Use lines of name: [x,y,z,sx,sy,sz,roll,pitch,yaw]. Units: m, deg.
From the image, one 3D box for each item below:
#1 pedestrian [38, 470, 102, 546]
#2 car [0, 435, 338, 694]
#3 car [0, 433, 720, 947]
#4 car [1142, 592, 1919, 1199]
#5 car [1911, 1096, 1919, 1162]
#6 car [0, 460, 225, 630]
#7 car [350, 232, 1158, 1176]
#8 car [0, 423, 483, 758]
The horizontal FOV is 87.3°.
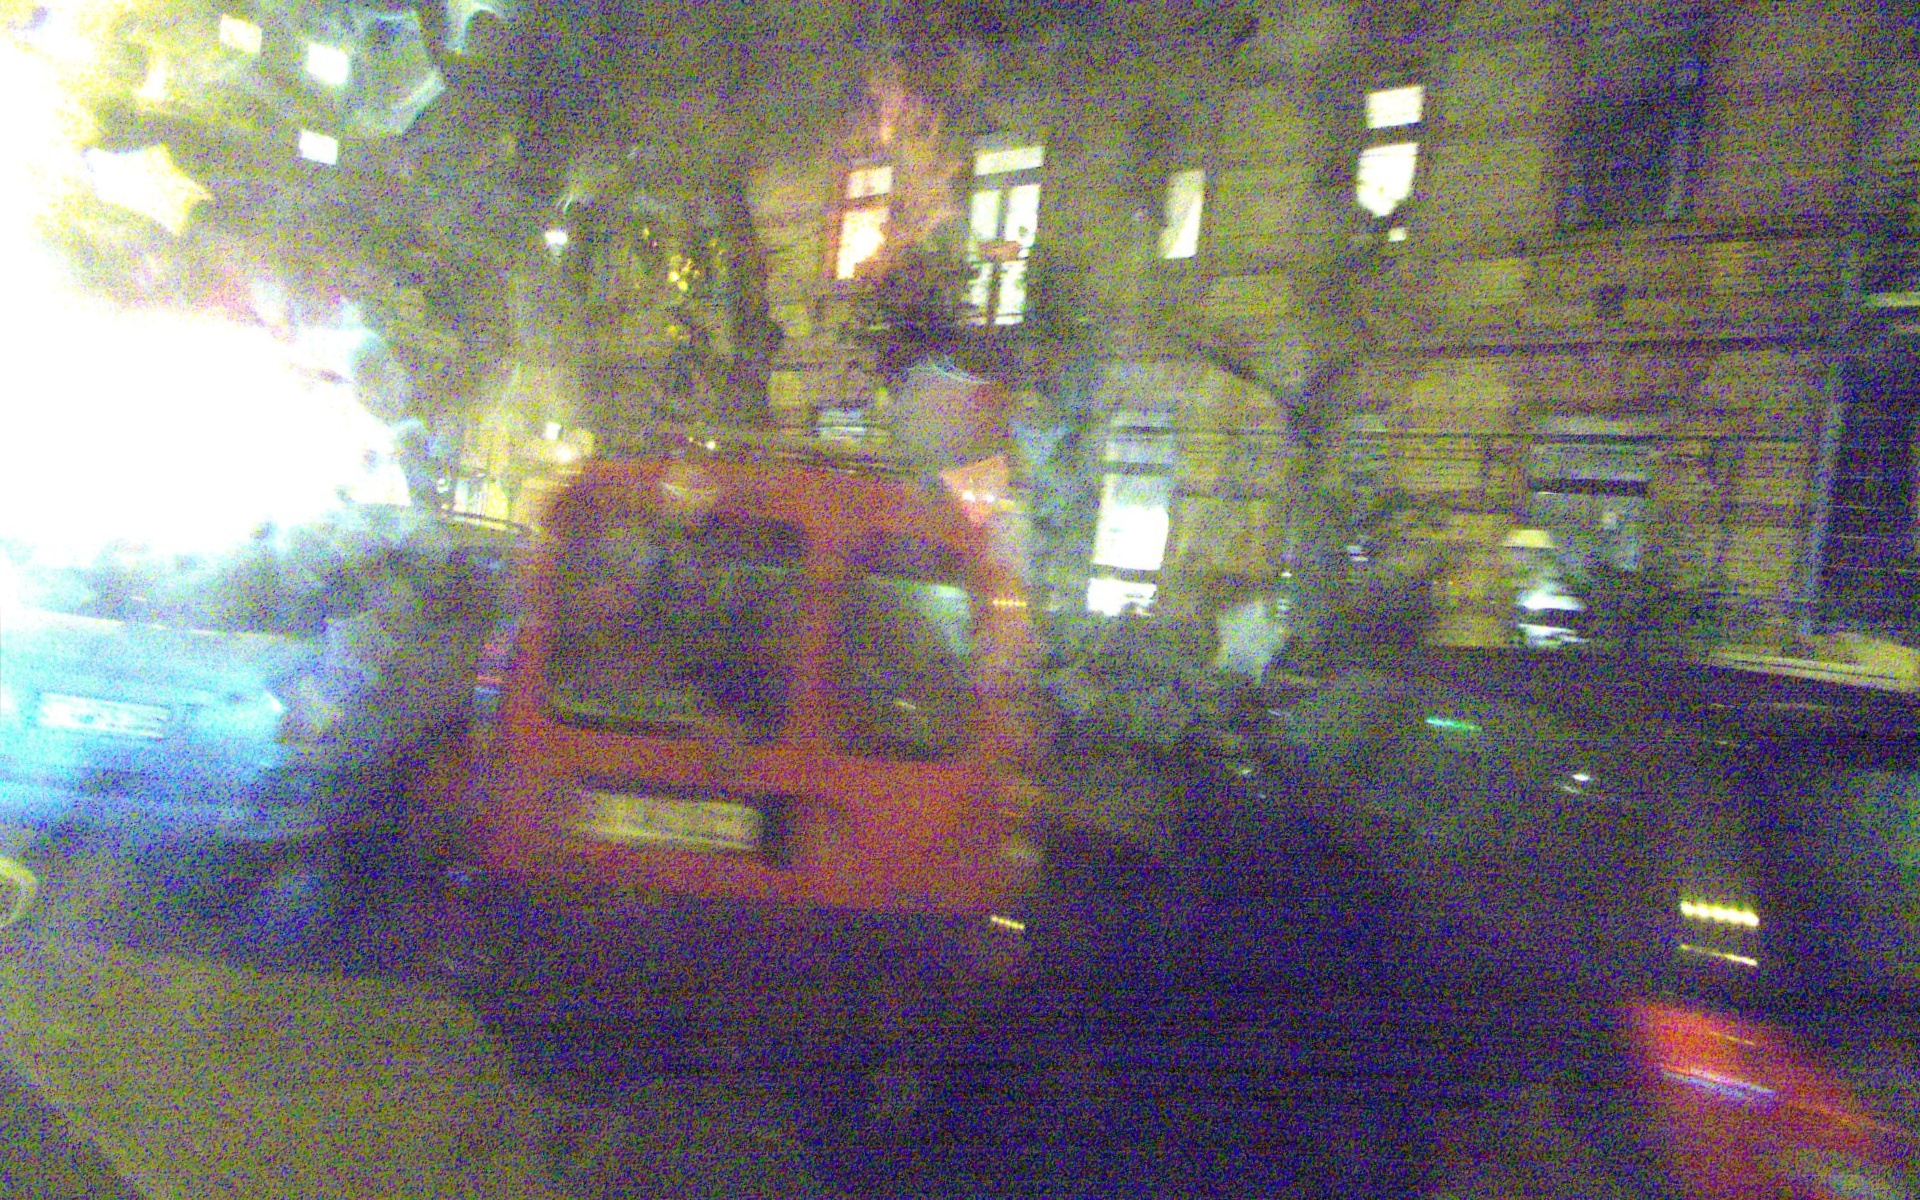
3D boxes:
pedestrian: [-23.803,-2.434,26.917,0.867,1.856,0.978,6,1,-22]
car: [-7.332,-0.385,8.574,1.739,1.735,3.735,6,2,-3]
car: [-2.894,0.233,5.465,1.799,1.619,4.070,6,2,4]
car: [1.743,0.836,2.920,1.628,1.472,3.702,6,2,0]
car: [4.107,1.206,1.286,1.648,1.471,4.054,7,0,-3]
car: [-9.816,-0.620,9.925,1.738,1.594,4.260,6,2,4]
car: [-0.575,0.230,4.217,1.690,2.055,3.735,6,2,-3]
car: [-5.248,-0.145,7.356,1.717,1.735,3.788,6,2,-3]
